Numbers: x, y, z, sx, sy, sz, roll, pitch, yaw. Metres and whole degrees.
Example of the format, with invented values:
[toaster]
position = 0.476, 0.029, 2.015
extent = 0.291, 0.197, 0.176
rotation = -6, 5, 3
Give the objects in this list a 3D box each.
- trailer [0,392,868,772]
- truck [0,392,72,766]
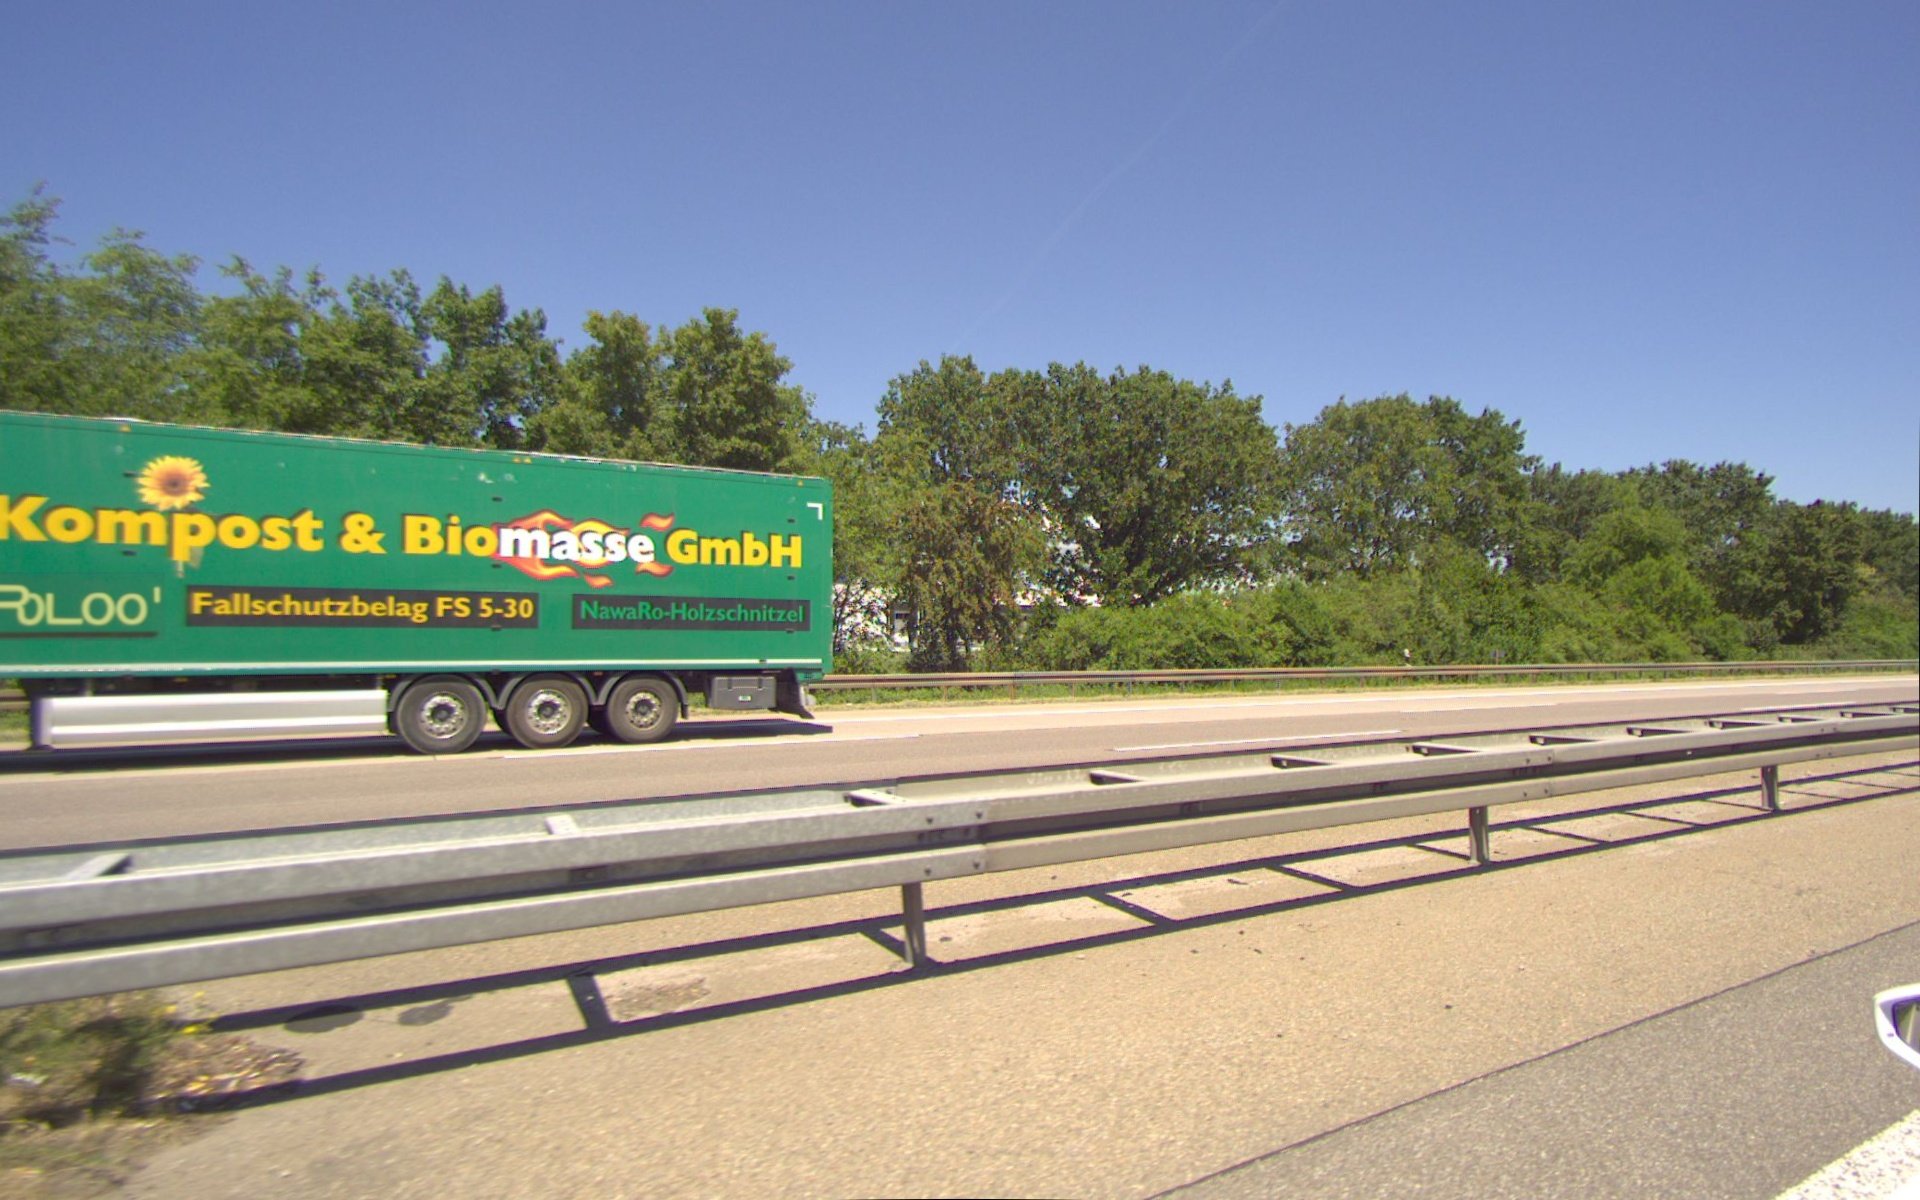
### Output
[trailer]
position = -7.995, -0.025, 13.825
extent = 13.520, 4.096, 2.864
rotation = 2, -4, -30
[truck]
position = -13.807, -0.233, 10.427
extent = 6.258, 4.096, 2.864
rotation = 2, -4, -30
